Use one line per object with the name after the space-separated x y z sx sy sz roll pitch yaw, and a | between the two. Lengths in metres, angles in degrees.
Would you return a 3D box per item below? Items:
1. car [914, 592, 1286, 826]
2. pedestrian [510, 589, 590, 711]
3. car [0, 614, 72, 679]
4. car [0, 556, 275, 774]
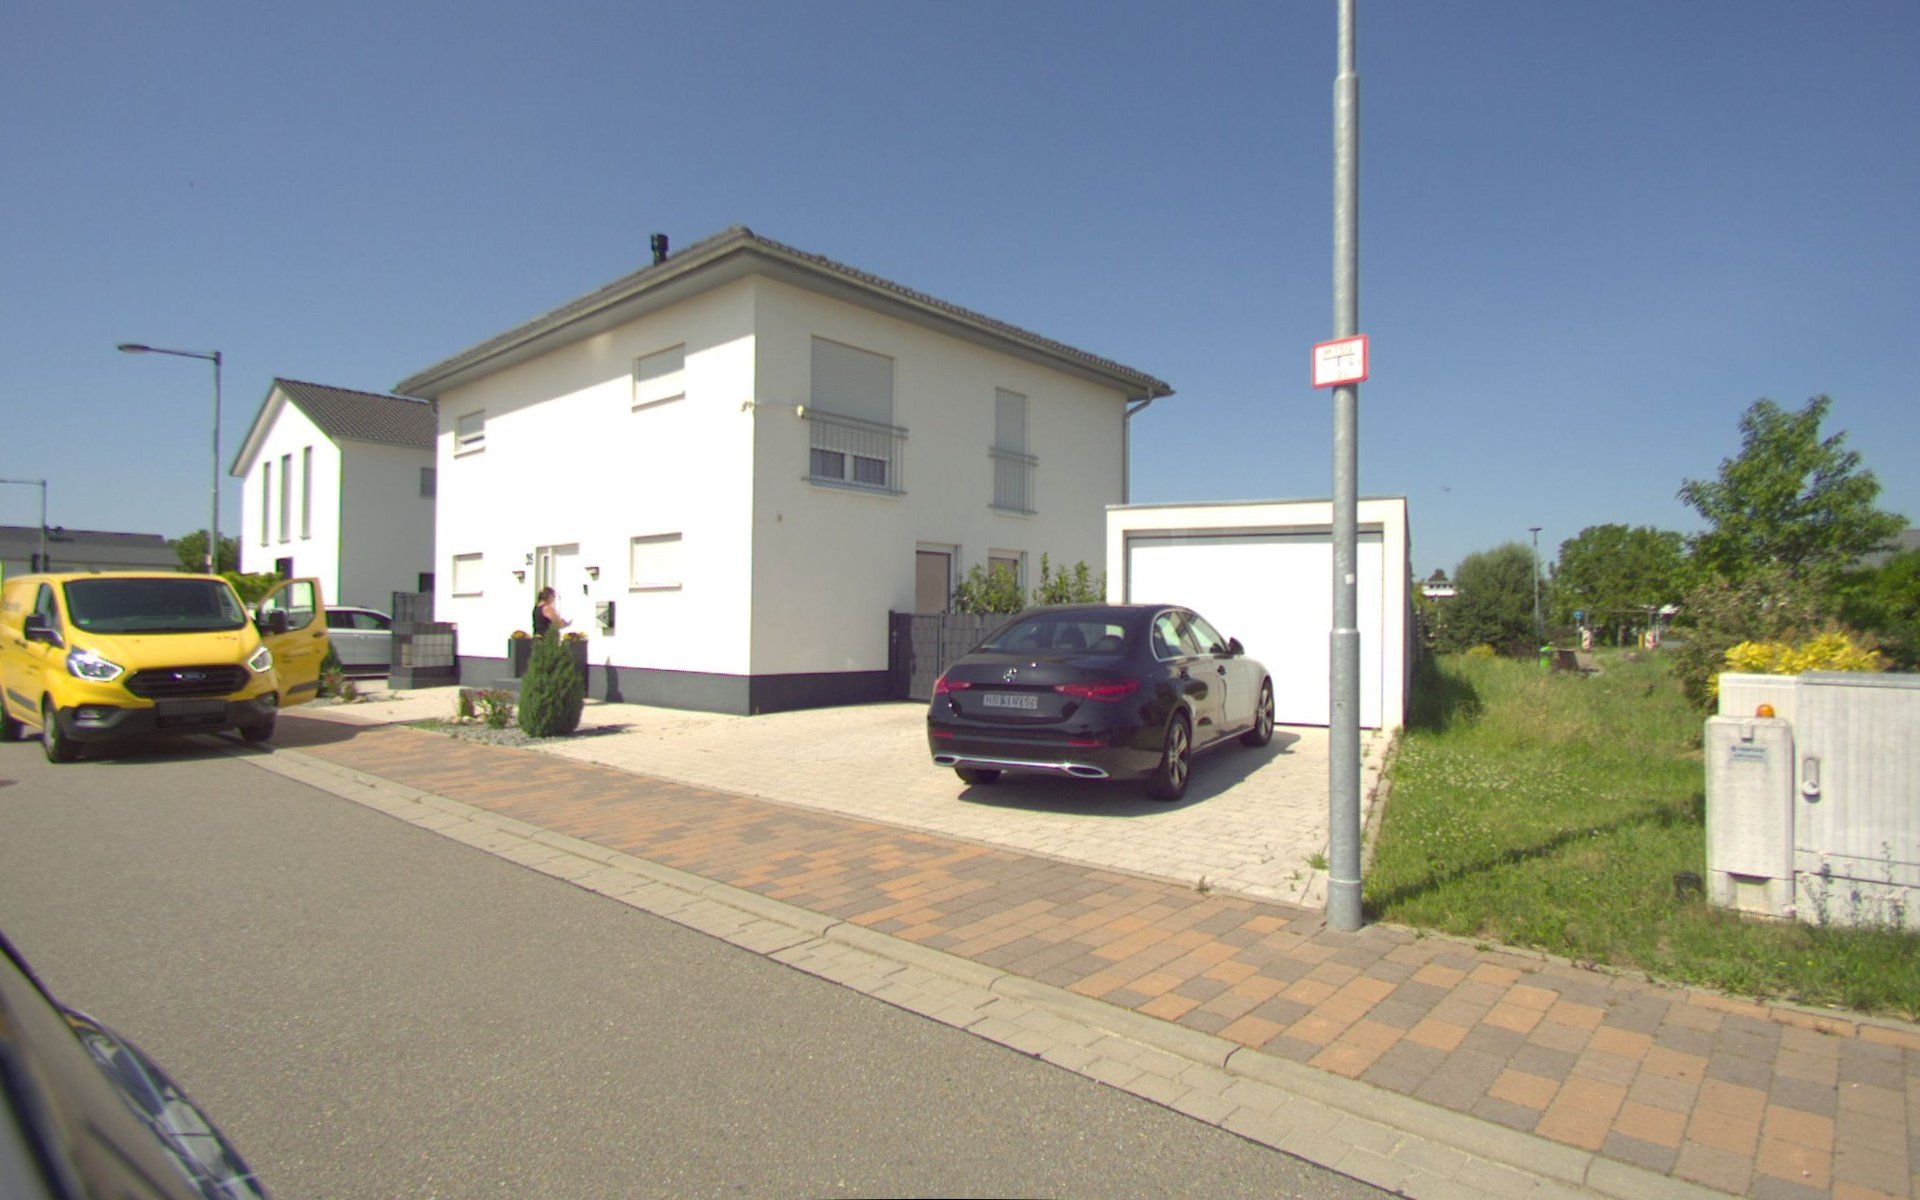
1.475 0.694 8.692 1.741 1.463 4.364 -1 0 29 | car
-5.946 0.696 14.676 0.918 1.698 0.538 -2 0 -38 | pedestrian
-23.867 1.120 25.587 4.445 1.484 1.672 -1 0 43 | car
-9.845 0.630 11.665 4.835 2.029 1.866 -1 -1 38 | car
